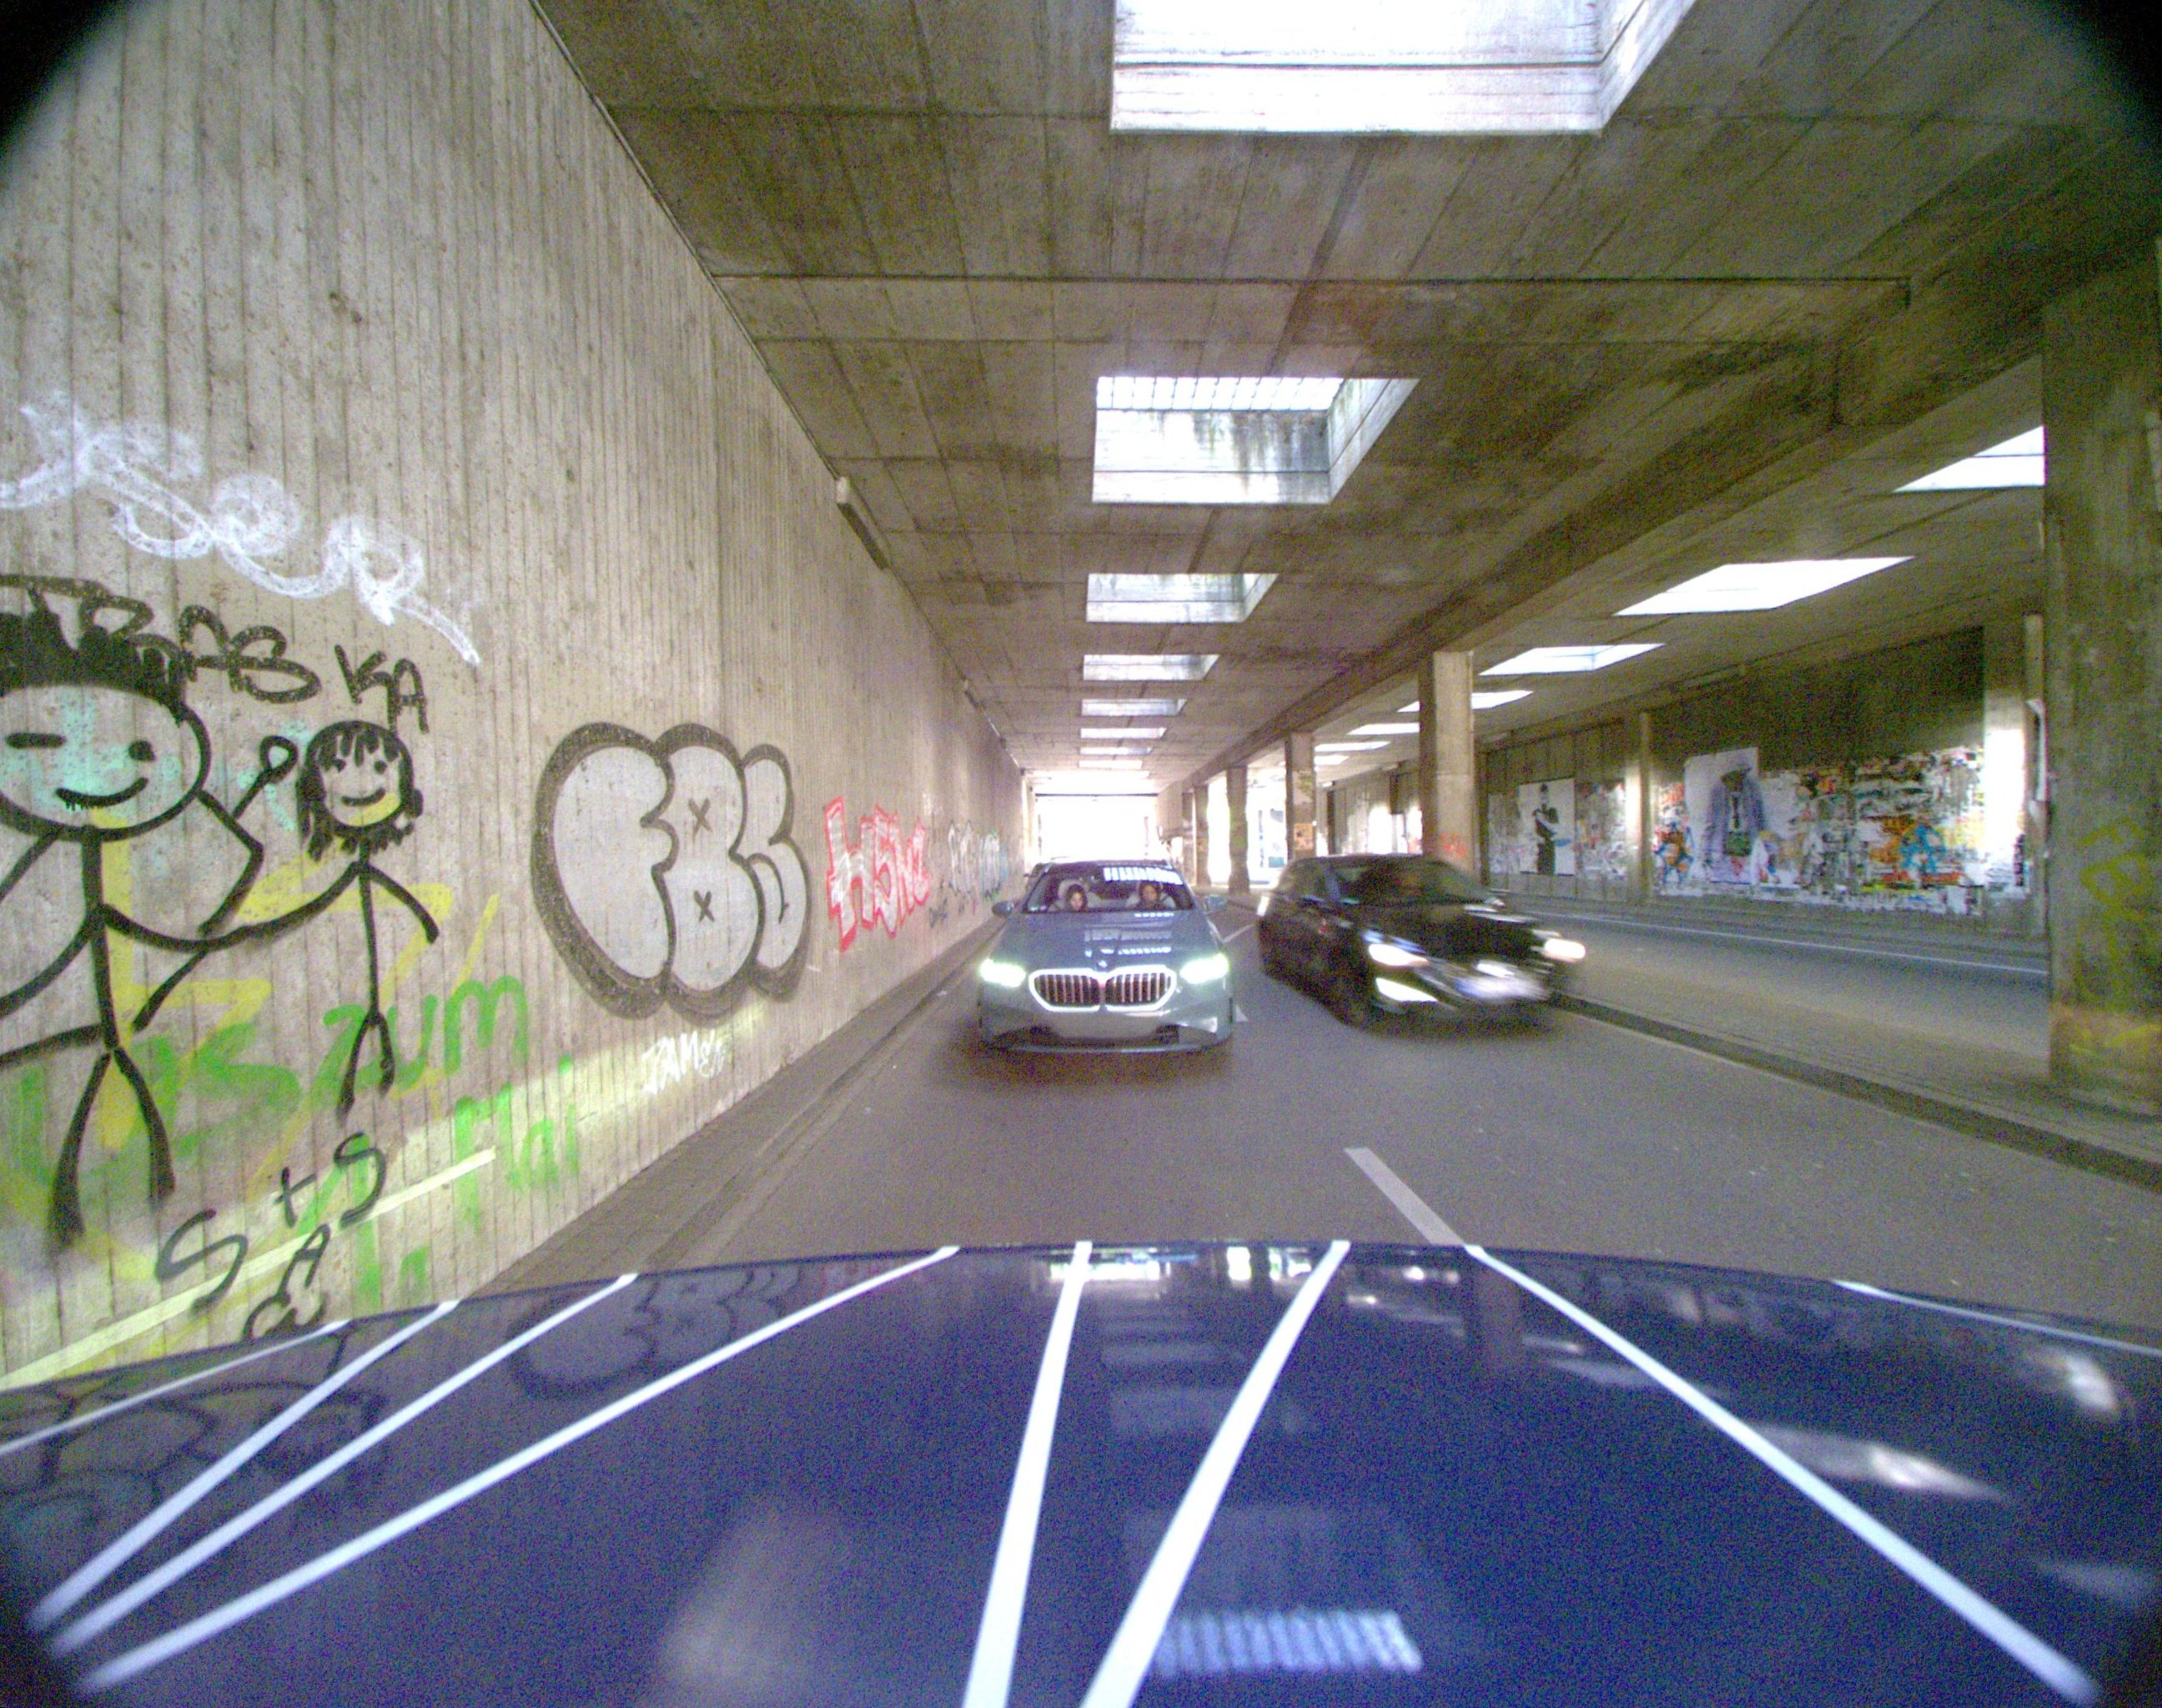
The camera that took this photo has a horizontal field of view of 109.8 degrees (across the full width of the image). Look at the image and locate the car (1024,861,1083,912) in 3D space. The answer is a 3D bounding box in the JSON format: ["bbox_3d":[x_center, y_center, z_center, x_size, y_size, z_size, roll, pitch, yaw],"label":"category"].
[{"bbox_3d":[-0.794,0.948,23.898,1.593,1.387,3.833,-2,0,1],"label":"car"}]

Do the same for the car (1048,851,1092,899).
[{"bbox_3d":[-0.372,0.766,29.904,1.581,1.676,4.078,-2,0,1],"label":"car"}]

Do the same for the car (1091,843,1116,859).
[{"bbox_3d":[2.847,-0.350,97.536,2.361,2.002,5.146,-1,0,-8],"label":"car"}]

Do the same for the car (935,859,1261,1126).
[{"bbox_3d":[0.184,0.884,7.324,1.998,1.594,5.176,-1,0,2],"label":"car"}]

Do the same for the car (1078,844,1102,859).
[{"bbox_3d":[1.192,-0.356,103.548,2.361,2.002,5.146,-1,0,-8],"label":"car"}]

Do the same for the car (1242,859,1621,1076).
[{"bbox_3d":[2.994,0.842,7.615,1.784,1.438,4.178,-3,0,0],"label":"car"}]
